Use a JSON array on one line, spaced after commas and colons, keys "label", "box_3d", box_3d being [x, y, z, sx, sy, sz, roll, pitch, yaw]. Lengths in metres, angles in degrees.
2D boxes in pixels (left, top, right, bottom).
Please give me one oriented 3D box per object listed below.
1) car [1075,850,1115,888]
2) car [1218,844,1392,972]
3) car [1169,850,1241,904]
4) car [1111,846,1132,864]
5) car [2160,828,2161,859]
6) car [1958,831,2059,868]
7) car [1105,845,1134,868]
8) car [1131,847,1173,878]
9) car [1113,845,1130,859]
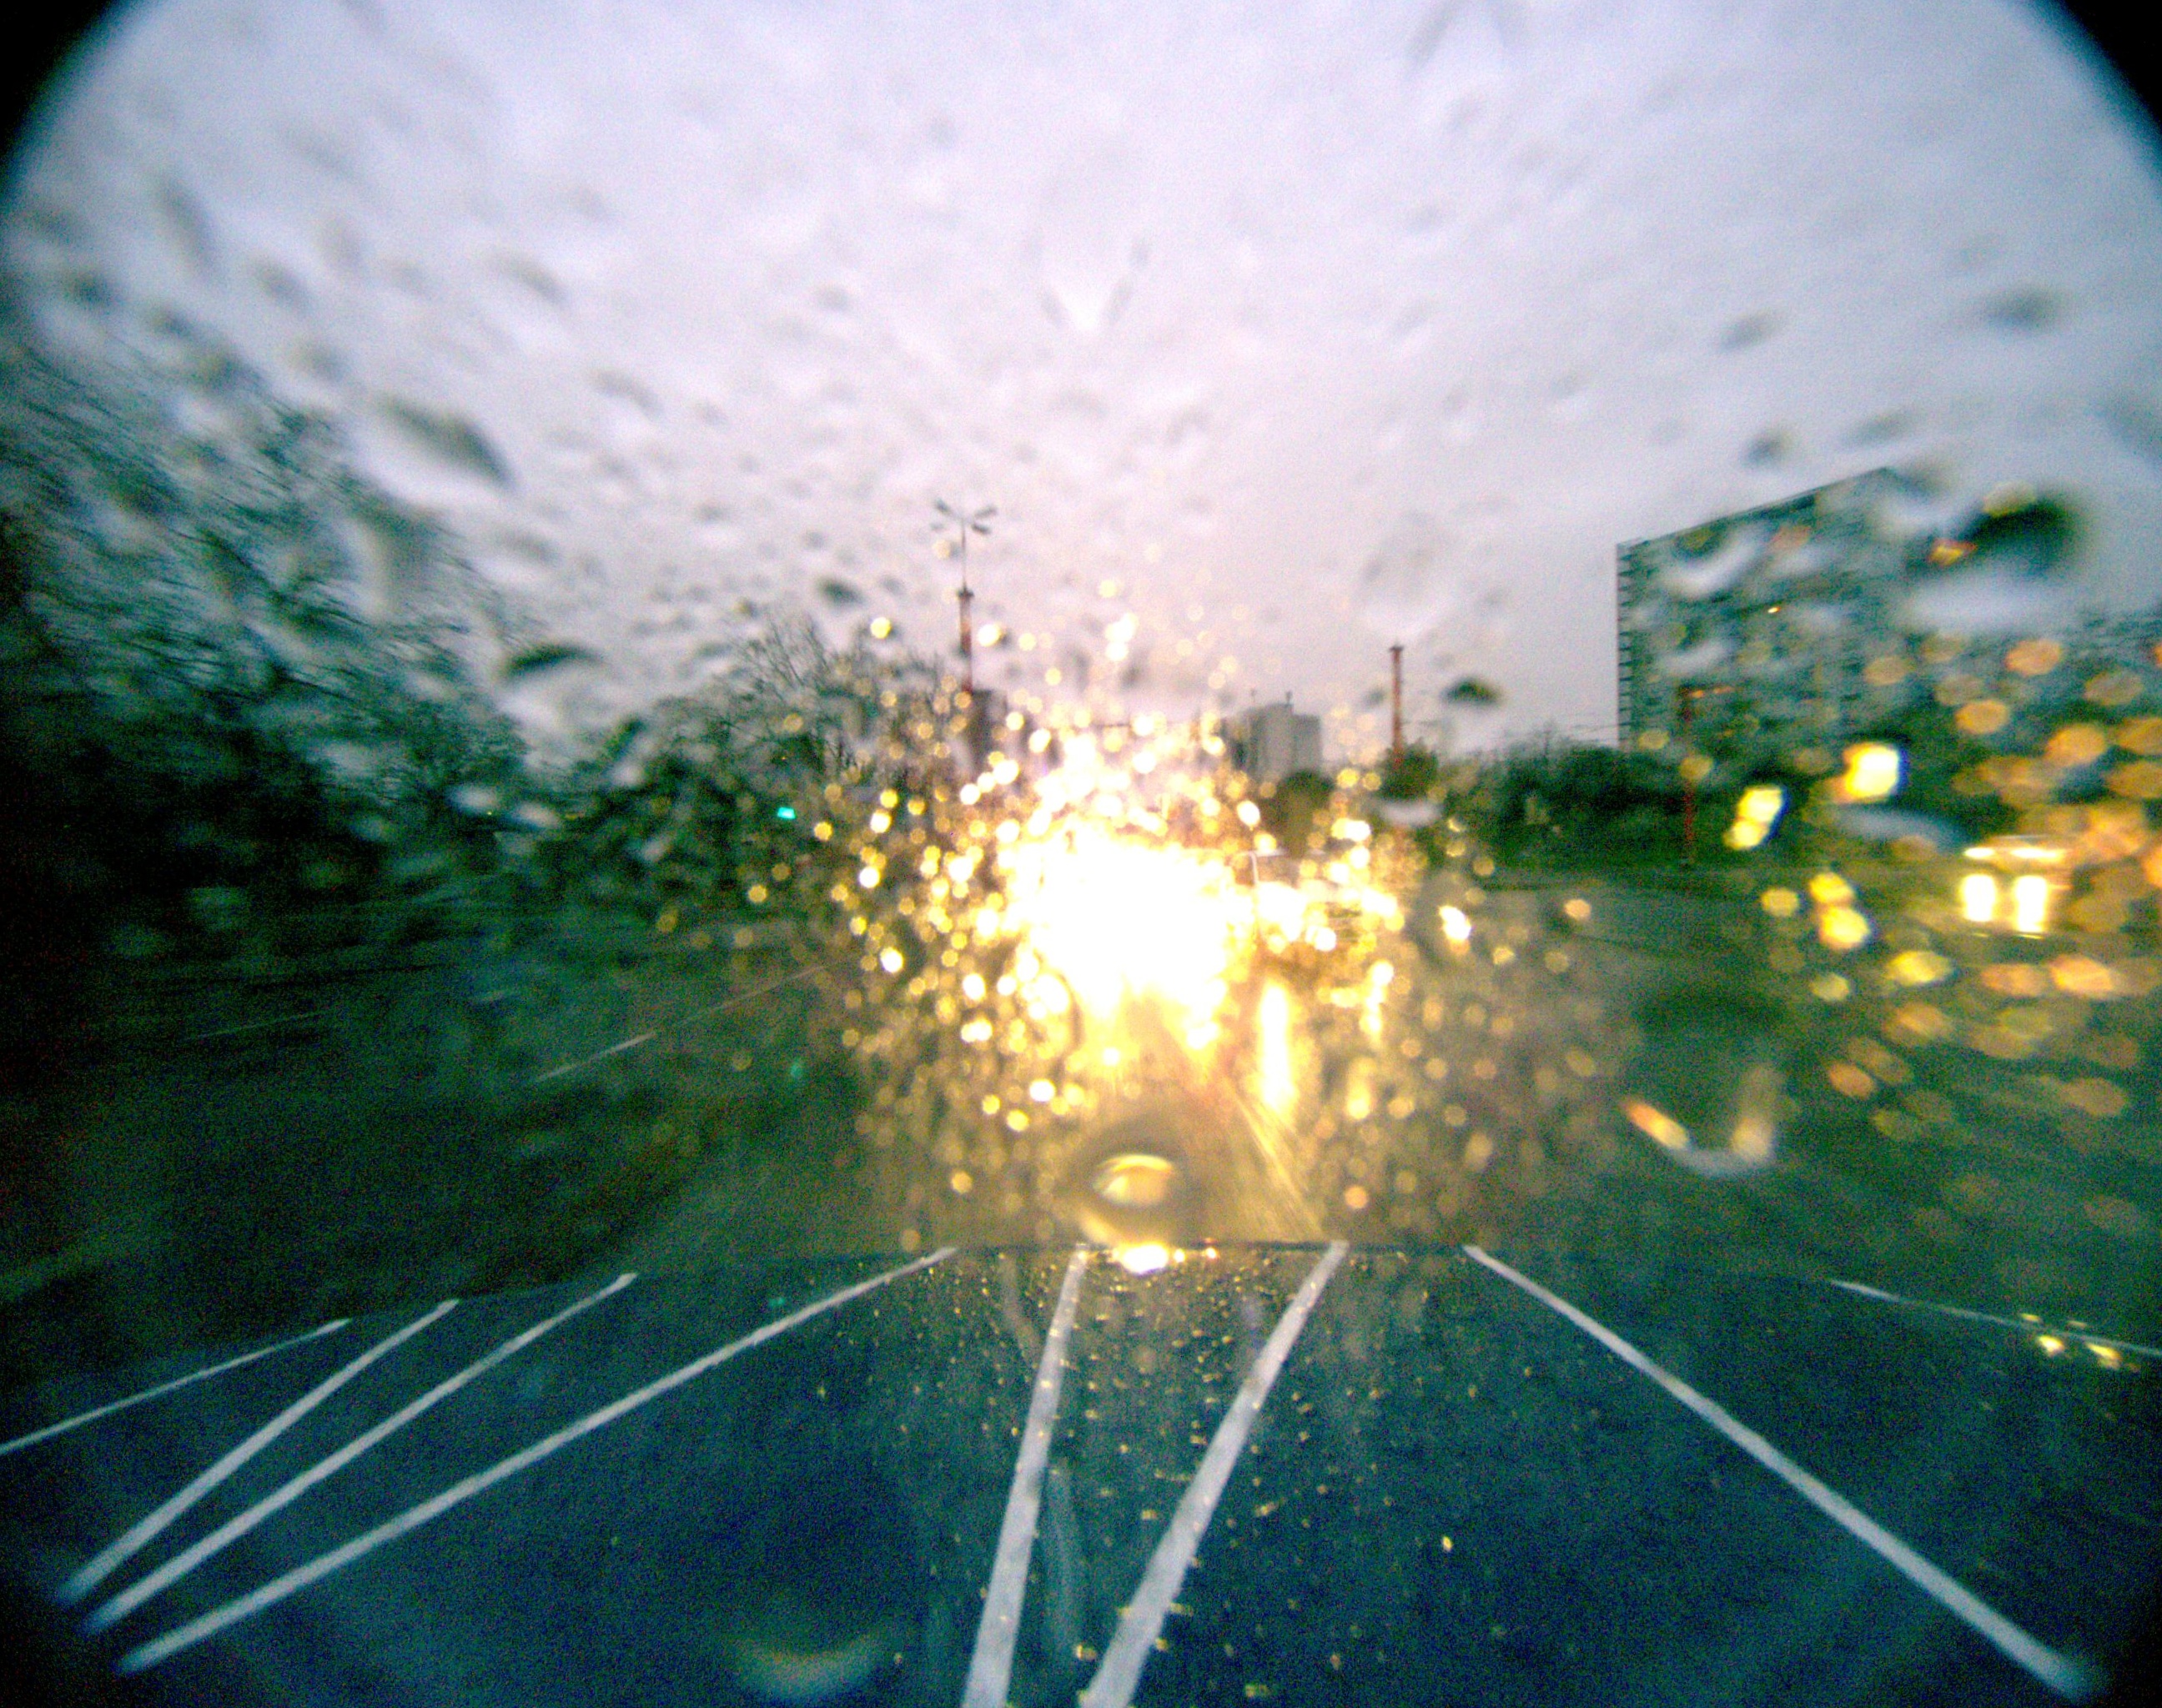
[{"label": "car", "box_3d": [0.601, 0.626, 34.429, 1.679, 1.590, 4.044, -1, 1, 0]}, {"label": "car", "box_3d": [3.303, 0.682, 12.009, 1.718, 1.638, 4.147, -1, 1, 3]}, {"label": "car", "box_3d": [3.965, 0.678, 24.964, 1.694, 1.530, 4.190, -3, 1, 1]}, {"label": "car", "box_3d": [3.988, 0.084, 75.500, 1.998, 1.652, 3.999, -3, 1, 2]}, {"label": "car", "box_3d": [55.826, -0.563, 37.871, 4.005, 1.536, 1.709, -1, 1, -25]}, {"label": "car", "box_3d": [41.770, -0.221, 34.199, 4.446, 1.536, 1.848, -1, 1, -25]}, {"label": "car", "box_3d": [2.830, 0.144, 57.109, 1.952, 1.590, 4.124, -1, 1, 1]}, {"label": "car", "box_3d": [3.974, 0.430, 43.073, 1.952, 1.590, 4.124, -1, 1, 1]}, {"label": "car", "box_3d": [5.336, -0.298, 99.887, 1.998, 1.605, 3.999, -3, 1, 2]}]
